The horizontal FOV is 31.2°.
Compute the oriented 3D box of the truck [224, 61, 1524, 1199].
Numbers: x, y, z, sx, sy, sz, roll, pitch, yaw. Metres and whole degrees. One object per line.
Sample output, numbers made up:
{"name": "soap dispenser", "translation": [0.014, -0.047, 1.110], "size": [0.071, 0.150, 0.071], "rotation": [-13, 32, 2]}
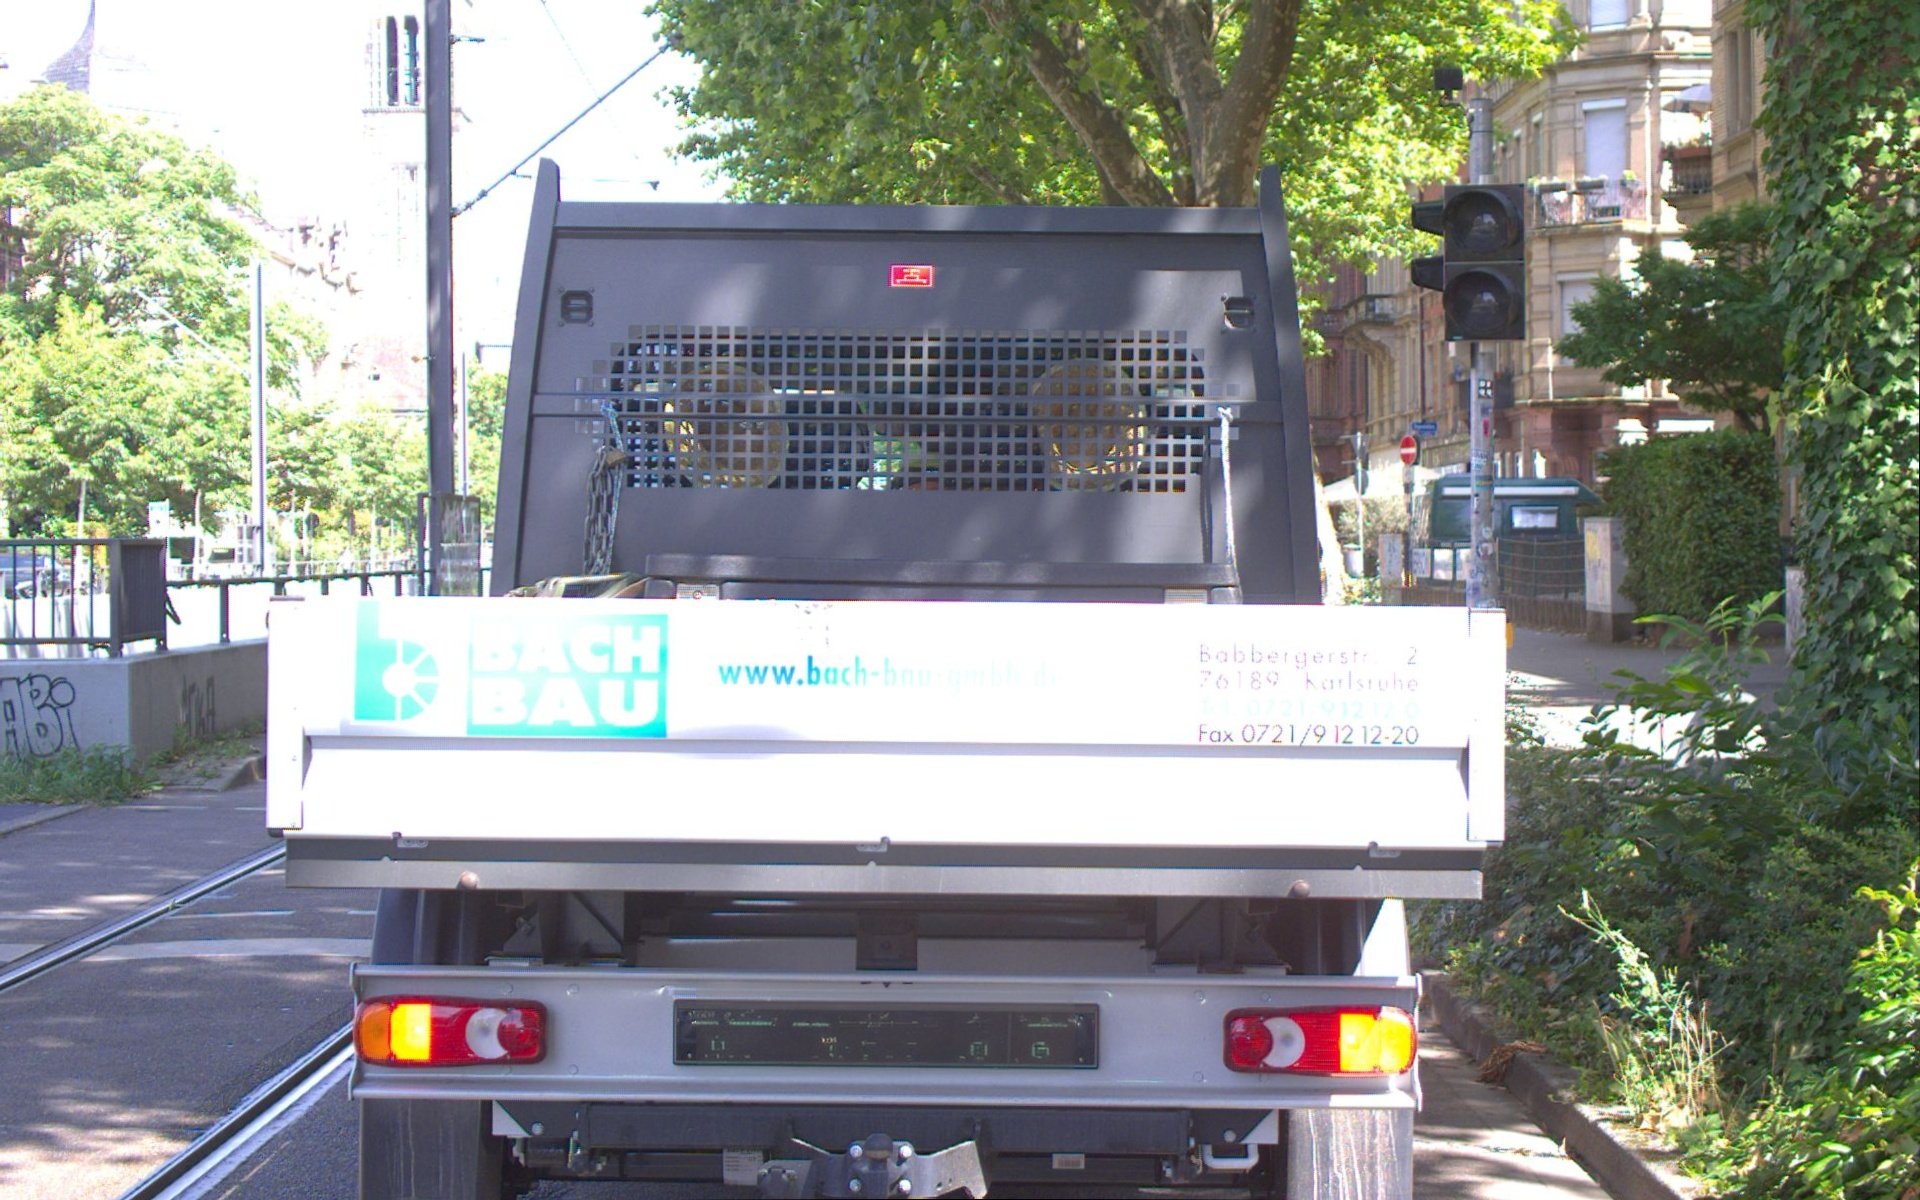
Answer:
{"name": "truck", "translation": [-0.136, 0.232, 7.882], "size": [2.138, 2.311, 4.402], "rotation": [0, 1, 0]}

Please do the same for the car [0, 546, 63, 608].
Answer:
{"name": "car", "translation": [-23.435, -0.578, 84.606], "size": [1.770, 1.493, 4.000], "rotation": [0, 1, -2]}

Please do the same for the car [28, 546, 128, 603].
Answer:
{"name": "car", "translation": [-23.697, -0.709, 92.442], "size": [1.770, 1.493, 4.000], "rotation": [0, 1, -2]}
